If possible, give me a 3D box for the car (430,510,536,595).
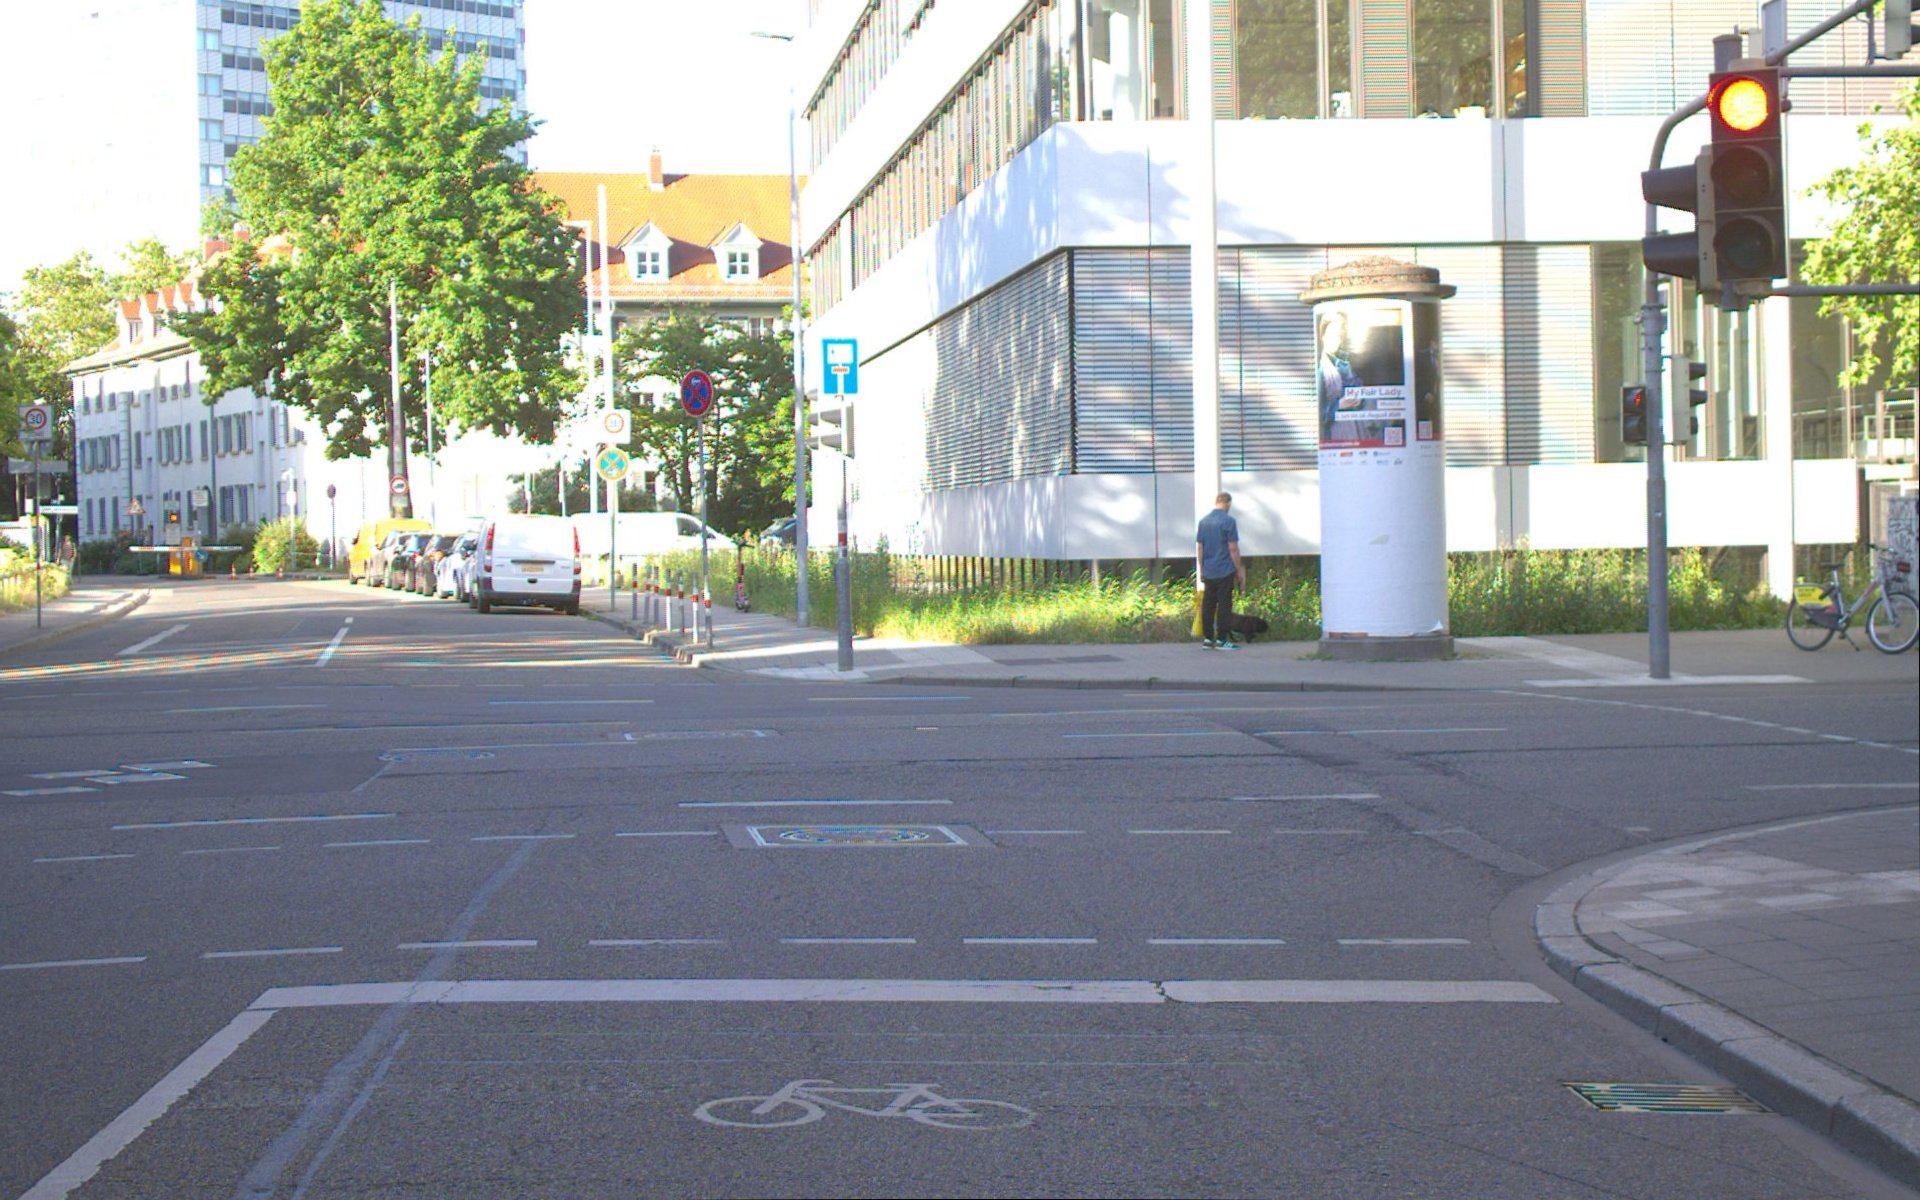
[{"bbox_3d":[-10.652,-1.070,76.493,1.946,1.789,4.239,-1,1,-13],"label":"car"}]

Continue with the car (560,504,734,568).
[{"bbox_3d":[-9.374,-1.902,102.840,4.880,1.865,2.001,0,0,-17],"label":"car"}]

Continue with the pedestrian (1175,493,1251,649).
[{"bbox_3d":[2.855,-0.335,38.845,0.652,1.730,0.812,-1,1,-9],"label":"pedestrian"}]

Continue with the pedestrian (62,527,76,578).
[{"bbox_3d":[-26.784,-1.422,103.351,0.380,1.529,0.446,-1,1,-12],"label":"pedestrian"}]

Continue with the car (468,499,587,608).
[{"bbox_3d":[-8.170,-0.890,64.671,2.066,1.956,4.239,-1,1,-9],"label":"car"}]

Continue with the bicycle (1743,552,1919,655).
[{"bbox_3d":[9.178,0.028,36.147,0.463,1.045,1.914,-2,2,-42],"label":"bicycle"}]

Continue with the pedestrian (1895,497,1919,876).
[{"bbox_3d":[3.327,0.452,9.933,0.954,1.568,0.750,-4,1,1],"label":"pedestrian"}]

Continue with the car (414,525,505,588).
[{"bbox_3d":[-11.857,-1.045,81.210,1.703,1.419,4.239,-1,1,-14],"label":"car"}]

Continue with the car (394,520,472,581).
[{"bbox_3d":[-13.193,-1.245,85.865,1.703,1.459,4.239,-1,1,-11],"label":"car"}]

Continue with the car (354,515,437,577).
[{"bbox_3d":[-15.741,-1.505,95.686,2.100,1.652,4.477,-1,1,-11],"label":"car"}]
